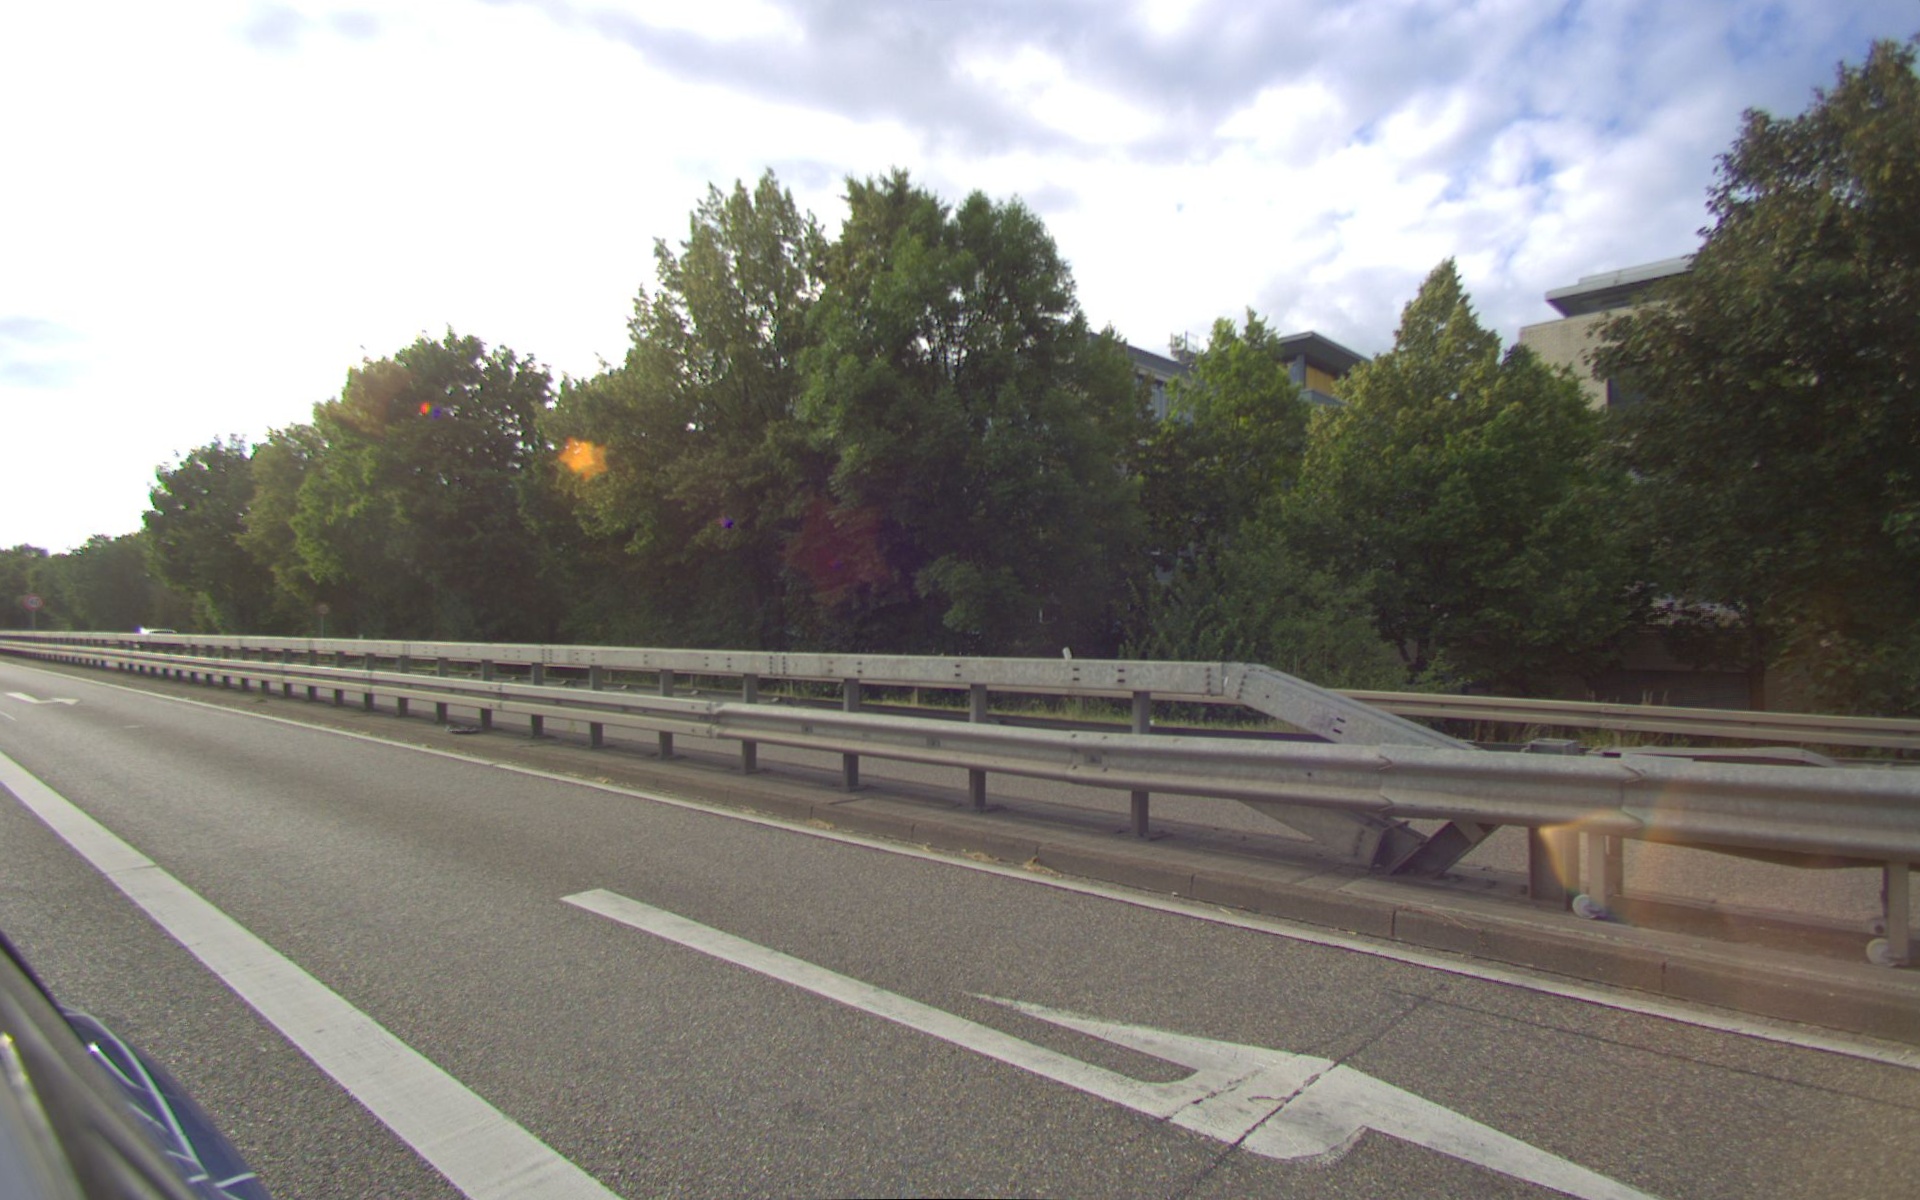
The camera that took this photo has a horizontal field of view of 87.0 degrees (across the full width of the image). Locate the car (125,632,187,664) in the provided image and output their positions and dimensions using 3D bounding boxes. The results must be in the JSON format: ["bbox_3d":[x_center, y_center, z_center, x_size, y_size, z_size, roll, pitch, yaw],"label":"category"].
[{"bbox_3d":[-42.344,2.492,53.258,4.373,1.468,1.895,-1,0,42],"label":"car"}]
